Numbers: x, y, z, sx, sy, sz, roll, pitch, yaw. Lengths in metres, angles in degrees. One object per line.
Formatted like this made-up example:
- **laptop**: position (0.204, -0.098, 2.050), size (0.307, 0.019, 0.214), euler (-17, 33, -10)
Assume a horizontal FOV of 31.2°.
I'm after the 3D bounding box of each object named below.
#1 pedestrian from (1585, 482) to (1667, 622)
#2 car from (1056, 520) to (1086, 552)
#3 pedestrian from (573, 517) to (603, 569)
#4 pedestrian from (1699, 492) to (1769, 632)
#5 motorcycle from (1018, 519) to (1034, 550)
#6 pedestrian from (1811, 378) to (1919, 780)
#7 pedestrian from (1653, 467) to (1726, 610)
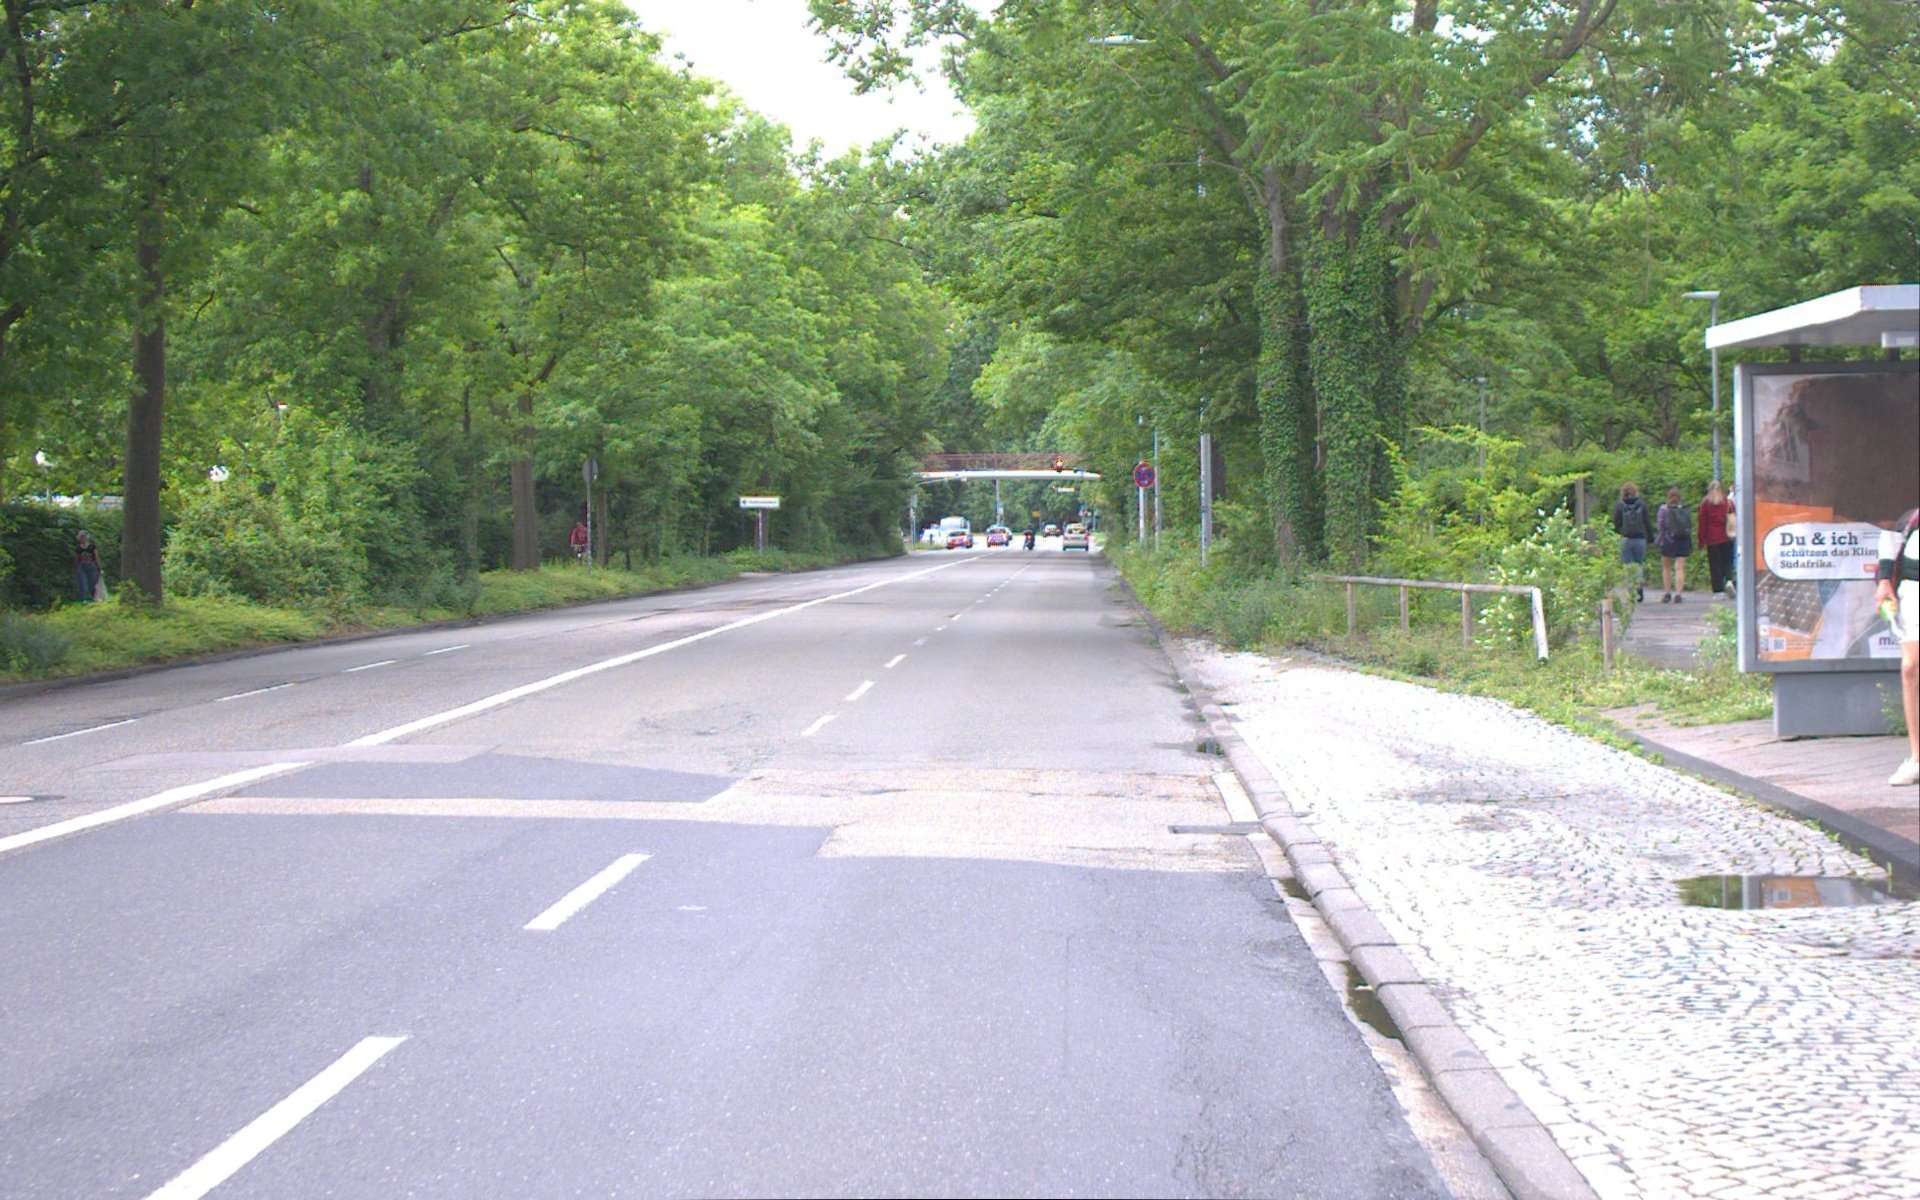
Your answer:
- **pedestrian**: position (9.725, -0.703, 50.223), size (0.925, 2.007, 1.040), euler (-2, 1, -2)
- **car**: position (6.999, -4.046, 217.154), size (1.843, 2.007, 4.000), euler (1, 1, 2)
- **pedestrian**: position (-11.564, -1.776, 106.956), size (0.792, 1.608, 0.848), euler (1, 1, 2)
- **pedestrian**: position (11.283, -0.558, 50.136), size (0.824, 2.007, 0.720), euler (-2, 1, 2)
- **motorcycle**: position (4.256, -4.203, 220.767), size (0.990, 1.929, 2.669), euler (1, 1, 2)
- **pedestrian**: position (4.986, -0.140, 17.740), size (0.912, 2.006, 0.854), euler (-3, 3, 1)
- **pedestrian**: position (10.492, -0.888, 49.470), size (0.824, 2.007, 0.720), euler (-3, 1, 2)
